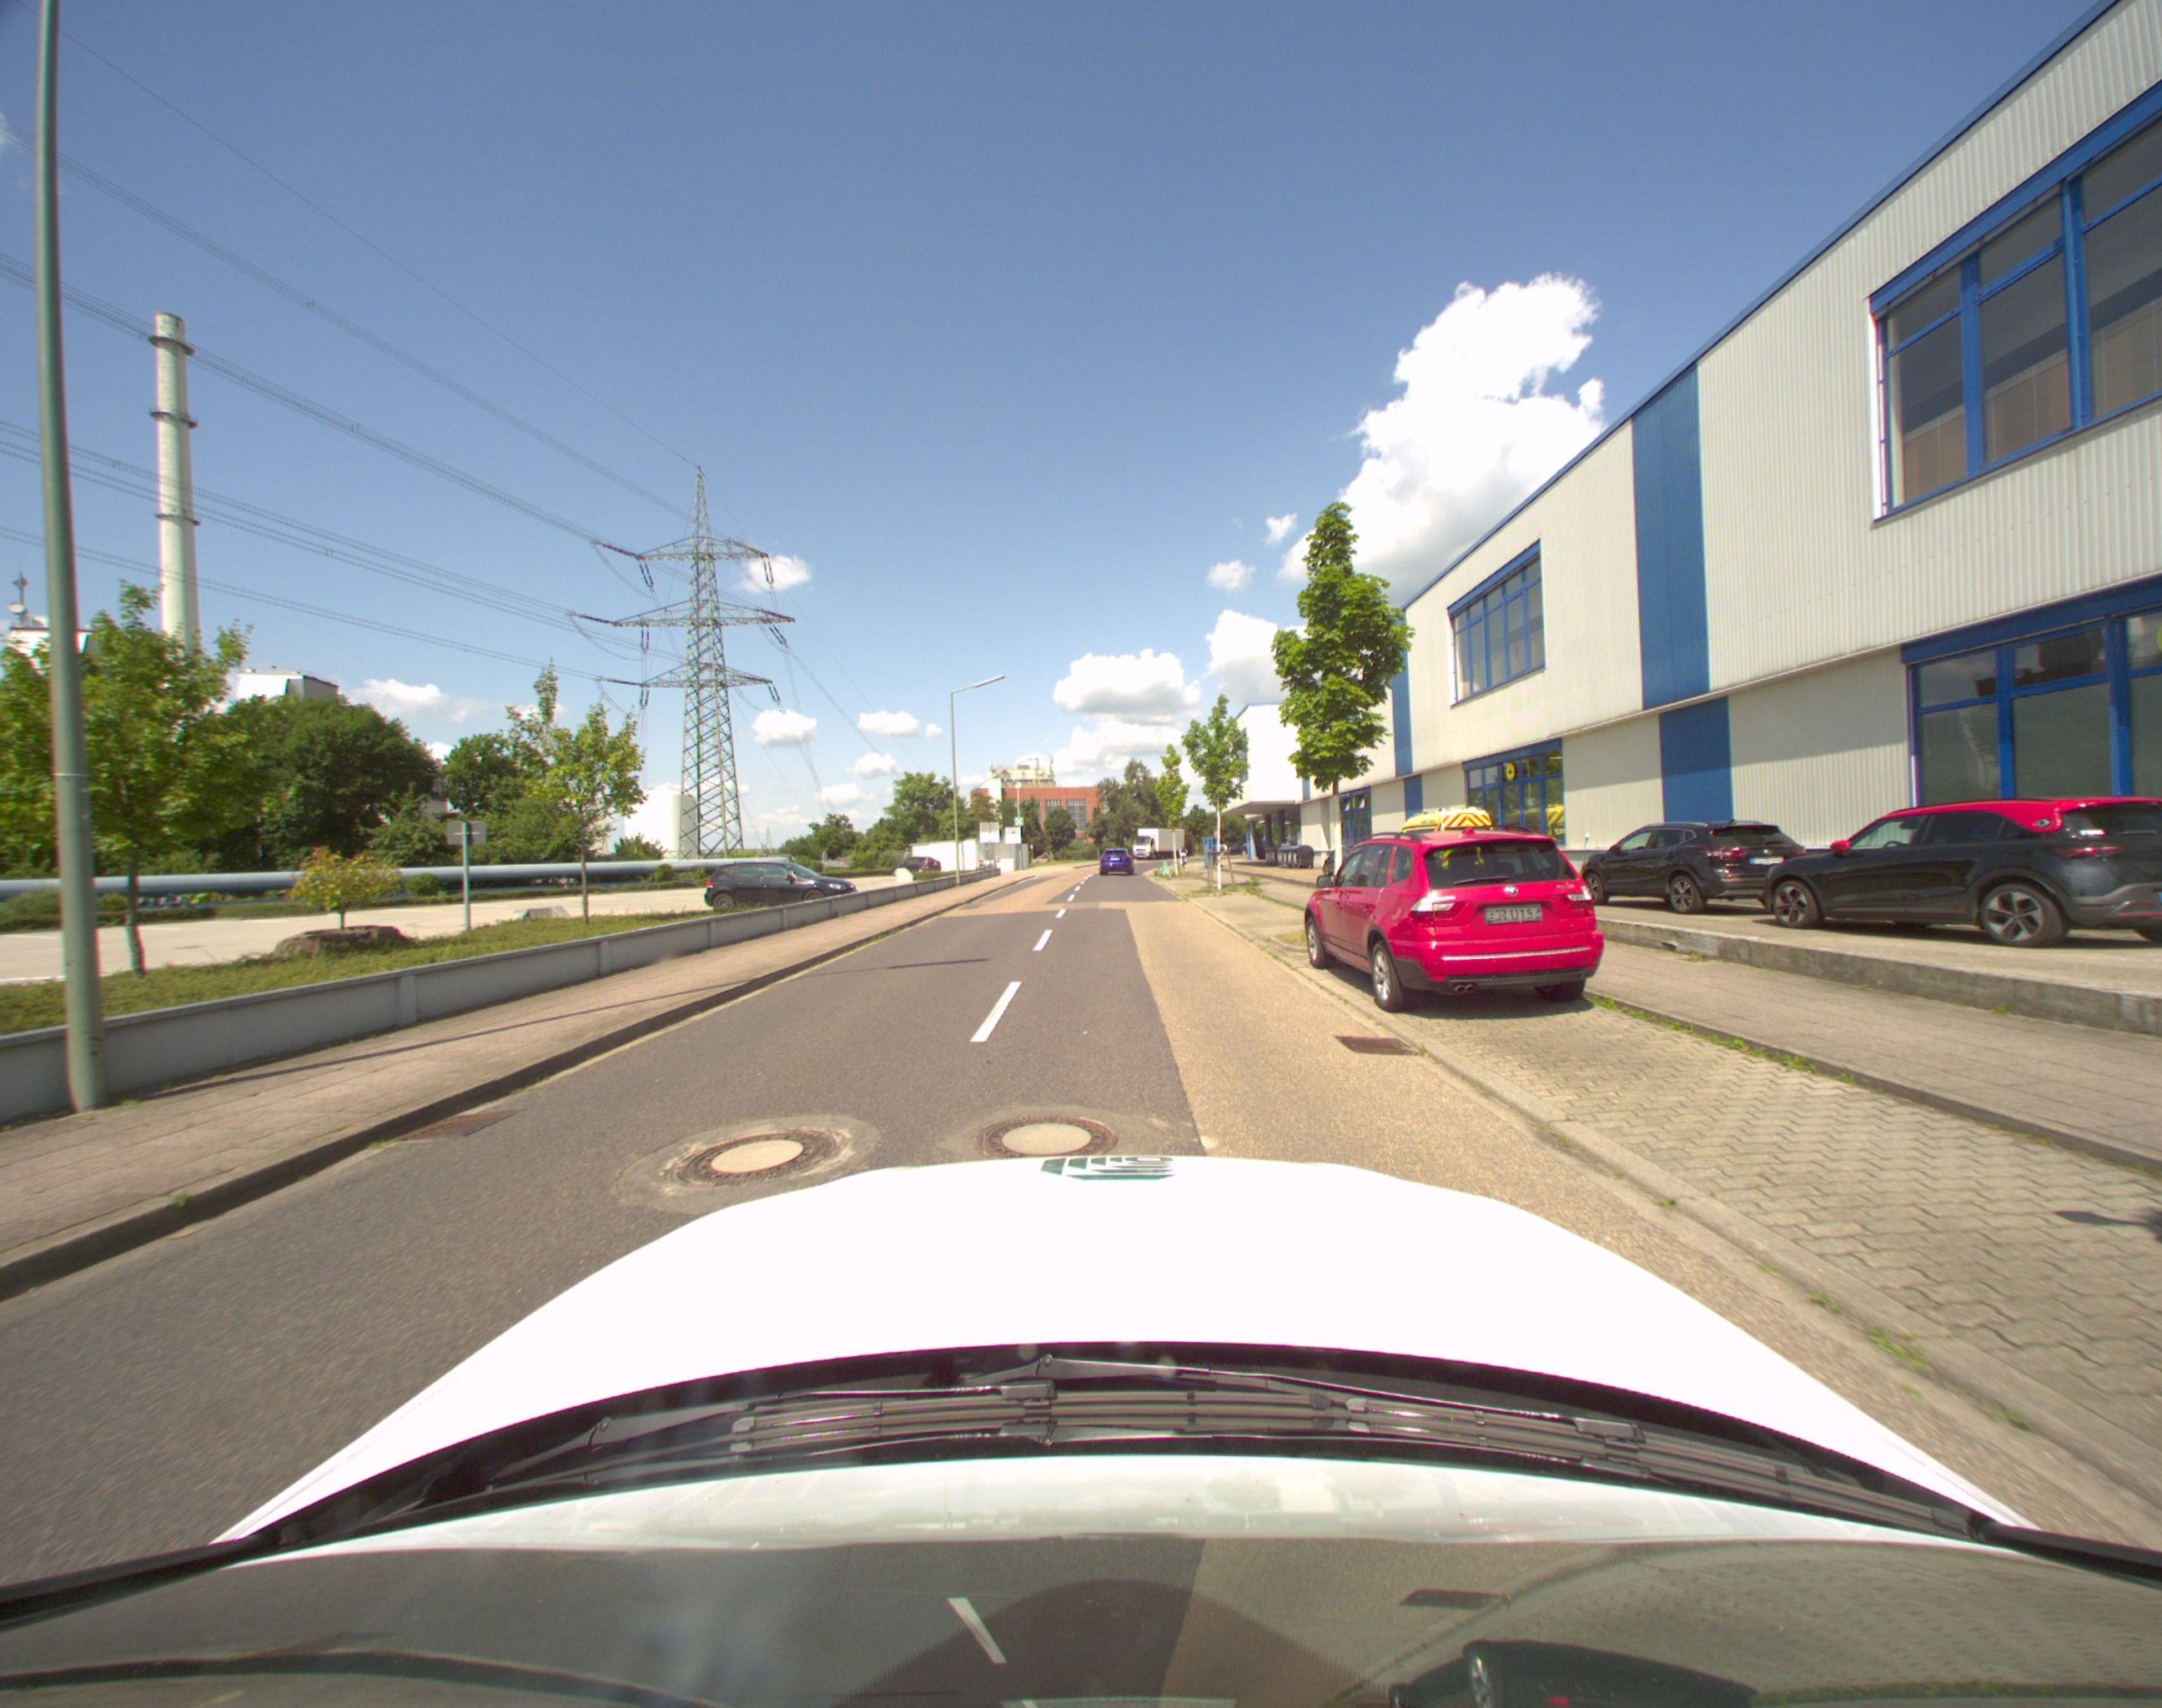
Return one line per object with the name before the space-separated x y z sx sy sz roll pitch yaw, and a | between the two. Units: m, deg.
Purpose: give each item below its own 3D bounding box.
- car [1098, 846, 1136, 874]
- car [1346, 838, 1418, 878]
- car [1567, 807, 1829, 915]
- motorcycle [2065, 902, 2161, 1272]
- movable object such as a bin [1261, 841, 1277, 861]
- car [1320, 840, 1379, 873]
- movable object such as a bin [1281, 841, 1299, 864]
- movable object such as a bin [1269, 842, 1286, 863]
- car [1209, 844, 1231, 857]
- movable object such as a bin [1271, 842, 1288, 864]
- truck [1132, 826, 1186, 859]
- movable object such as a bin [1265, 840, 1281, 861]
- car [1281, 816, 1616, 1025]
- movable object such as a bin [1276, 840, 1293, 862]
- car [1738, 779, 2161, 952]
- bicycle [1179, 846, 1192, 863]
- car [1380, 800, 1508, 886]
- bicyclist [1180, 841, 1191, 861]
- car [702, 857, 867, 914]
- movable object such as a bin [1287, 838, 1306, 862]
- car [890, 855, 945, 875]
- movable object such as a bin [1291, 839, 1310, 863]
car | 2.240 0.325 49.851 1.899 1.593 4.710 -2 0 7
car | 12.045 0.144 32.806 1.567 1.490 3.818 -2 0 2
car | 11.124 0.124 15.138 1.708 1.651 4.216 -3 0 2
motorcycle | 3.670 0.800 1.795 0.848 1.200 2.376 -3 1 22
movable object such as a bin | 13.844 -0.198 59.955 0.801 1.413 1.357 -2 0 0
car | 12.185 0.104 37.182 1.490 1.403 3.856 -2 0 2
movable object such as a bin | 13.514 -0.089 52.722 0.801 1.413 1.358 -2 0 1
movable object such as a bin | 13.743 -0.107 57.063 0.801 1.413 1.405 -2 0 0
car | 19.095 -0.466 112.137 2.884 1.570 1.893 -2 0 5
movable object such as a bin | 13.518 -0.072 55.494 0.801 1.413 1.427 -2 0 0
truck | 9.201 -1.428 94.911 2.298 3.567 9.428 -1 2 32
movable object such as a bin | 13.782 -0.250 58.476 0.801 1.413 1.357 -2 0 0
car | 3.608 0.527 9.069 1.748 1.650 4.681 -3 1 3
movable object such as a bin | 13.518 -0.179 54.043 0.801 1.413 1.174 -2 0 -1
car | 10.877 0.113 10.118 1.986 1.657 4.291 -3 -1 2
bicycle | 7.530 0.028 58.469 0.662 1.109 2.175 -3 0 13
car | 11.579 -0.330 26.444 1.916 2.463 5.262 -2 0 2
bicyclist | 7.526 -0.209 58.608 0.658 1.397 0.861 -3 0 13
car | -8.385 0.873 23.291 3.972 1.376 1.804 -3 0 1
movable object such as a bin | 13.531 -0.249 51.223 0.801 1.413 1.358 -2 0 1
car | -12.328 0.835 61.234 3.948 1.378 1.815 -2 1 36
movable object such as a bin | 13.421 -0.179 49.756 0.801 1.413 1.358 -2 0 1
